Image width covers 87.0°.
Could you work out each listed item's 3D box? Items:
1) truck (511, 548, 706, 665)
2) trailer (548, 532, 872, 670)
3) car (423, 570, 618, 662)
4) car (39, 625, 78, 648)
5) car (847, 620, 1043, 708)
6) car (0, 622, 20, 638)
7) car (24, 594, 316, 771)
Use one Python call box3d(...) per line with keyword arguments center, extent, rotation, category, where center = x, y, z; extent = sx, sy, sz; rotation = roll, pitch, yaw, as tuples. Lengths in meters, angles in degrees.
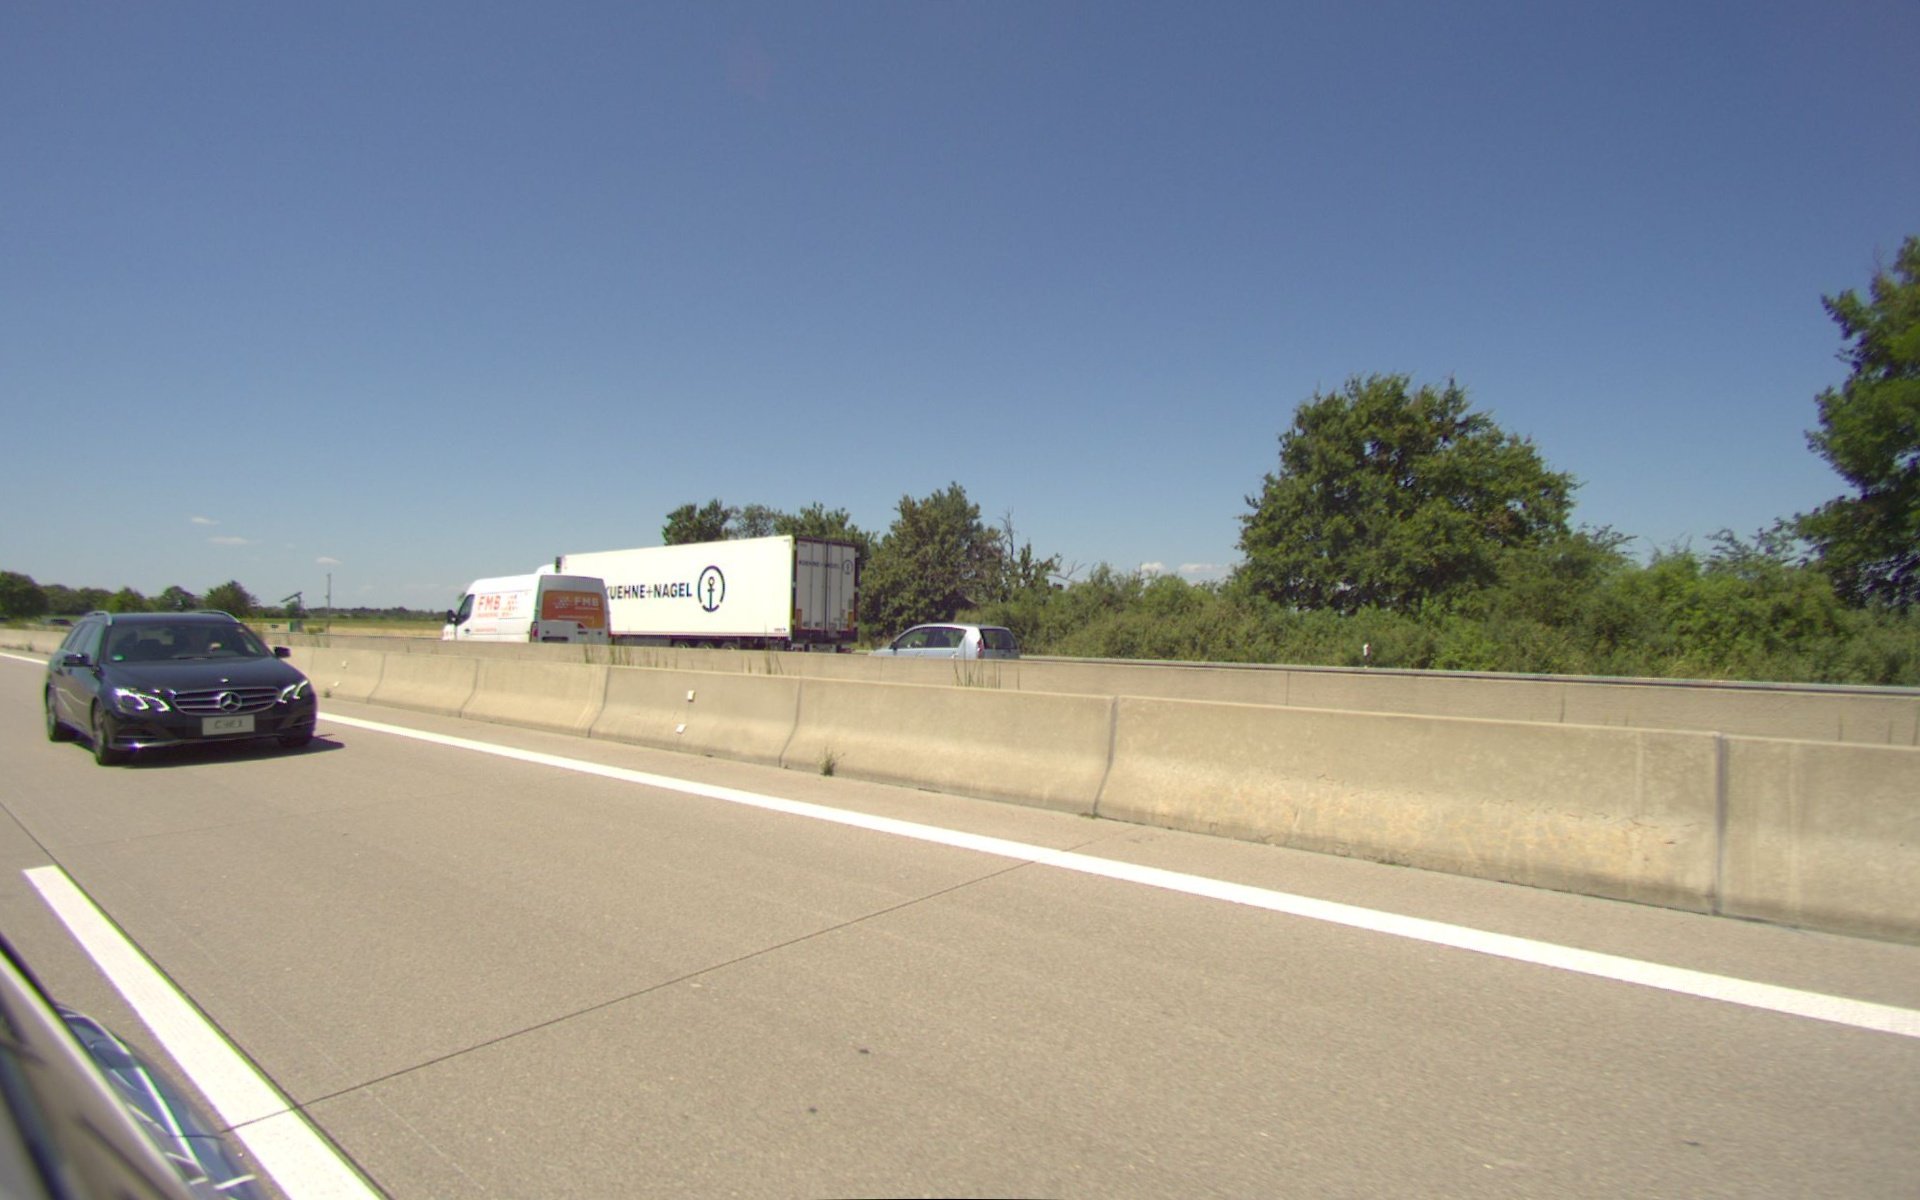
box3d(center=(-13.351, 0.270, 37.986), extent=(8.367, 3.938, 3.128), rotation=(-1, -1, 41), category="truck")
box3d(center=(-9.016, 0.144, 34.244), extent=(14.022, 3.867, 3.128), rotation=(-1, -1, 41), category="trailer")
box3d(center=(-11.012, 0.392, 25.083), extent=(5.977, 2.029, 2.047), rotation=(-1, -1, 41), category="car")
box3d(center=(-77.564, 3.090, 87.012), extent=(4.690, 1.896, 1.973), rotation=(-1, -1, 41), category="car")
box3d(center=(-0.375, 1.265, 21.312), extent=(3.999, 1.674, 1.800), rotation=(-1, -2, 42), category="car")
box3d(center=(-121.128, 3.810, 128.424), extent=(4.810, 1.852, 1.974), rotation=(-1, -1, 39), category="car")
box3d(center=(-8.778, 0.777, 11.133), extent=(3.938, 1.597, 1.824), rotation=(-1, -1, 41), category="car")
